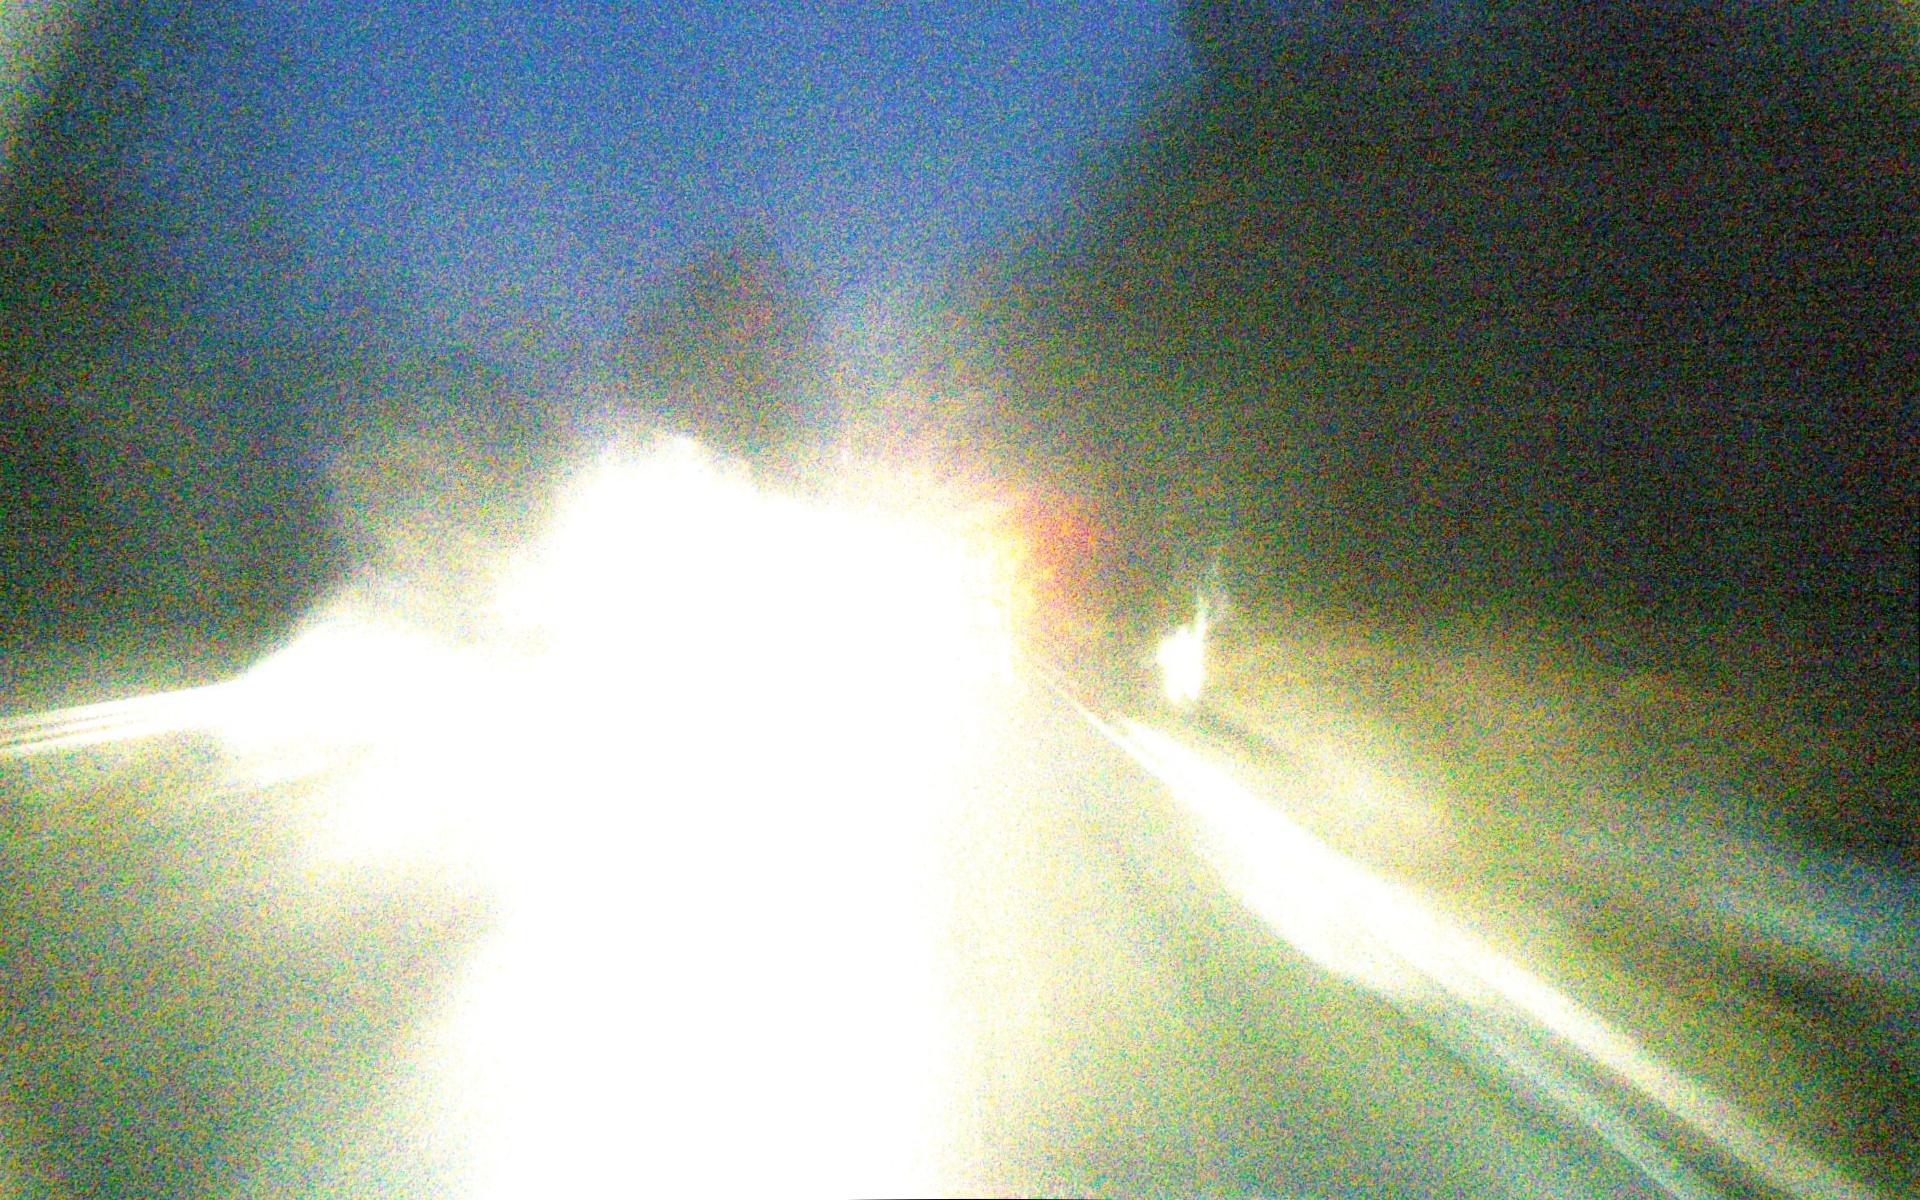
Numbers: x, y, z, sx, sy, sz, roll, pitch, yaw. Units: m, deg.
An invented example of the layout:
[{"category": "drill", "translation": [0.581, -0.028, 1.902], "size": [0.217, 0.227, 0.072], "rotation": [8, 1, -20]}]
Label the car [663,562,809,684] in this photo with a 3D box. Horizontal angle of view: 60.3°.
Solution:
[{"category": "car", "translation": [-3.541, 0.326, 26.810], "size": [1.953, 1.813, 3.998], "rotation": [0, 0, -2]}]

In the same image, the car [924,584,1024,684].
[{"category": "car", "translation": [0.251, 0.642, 34.364], "size": [1.953, 1.838, 3.918], "rotation": [0, 2, -1]}]
